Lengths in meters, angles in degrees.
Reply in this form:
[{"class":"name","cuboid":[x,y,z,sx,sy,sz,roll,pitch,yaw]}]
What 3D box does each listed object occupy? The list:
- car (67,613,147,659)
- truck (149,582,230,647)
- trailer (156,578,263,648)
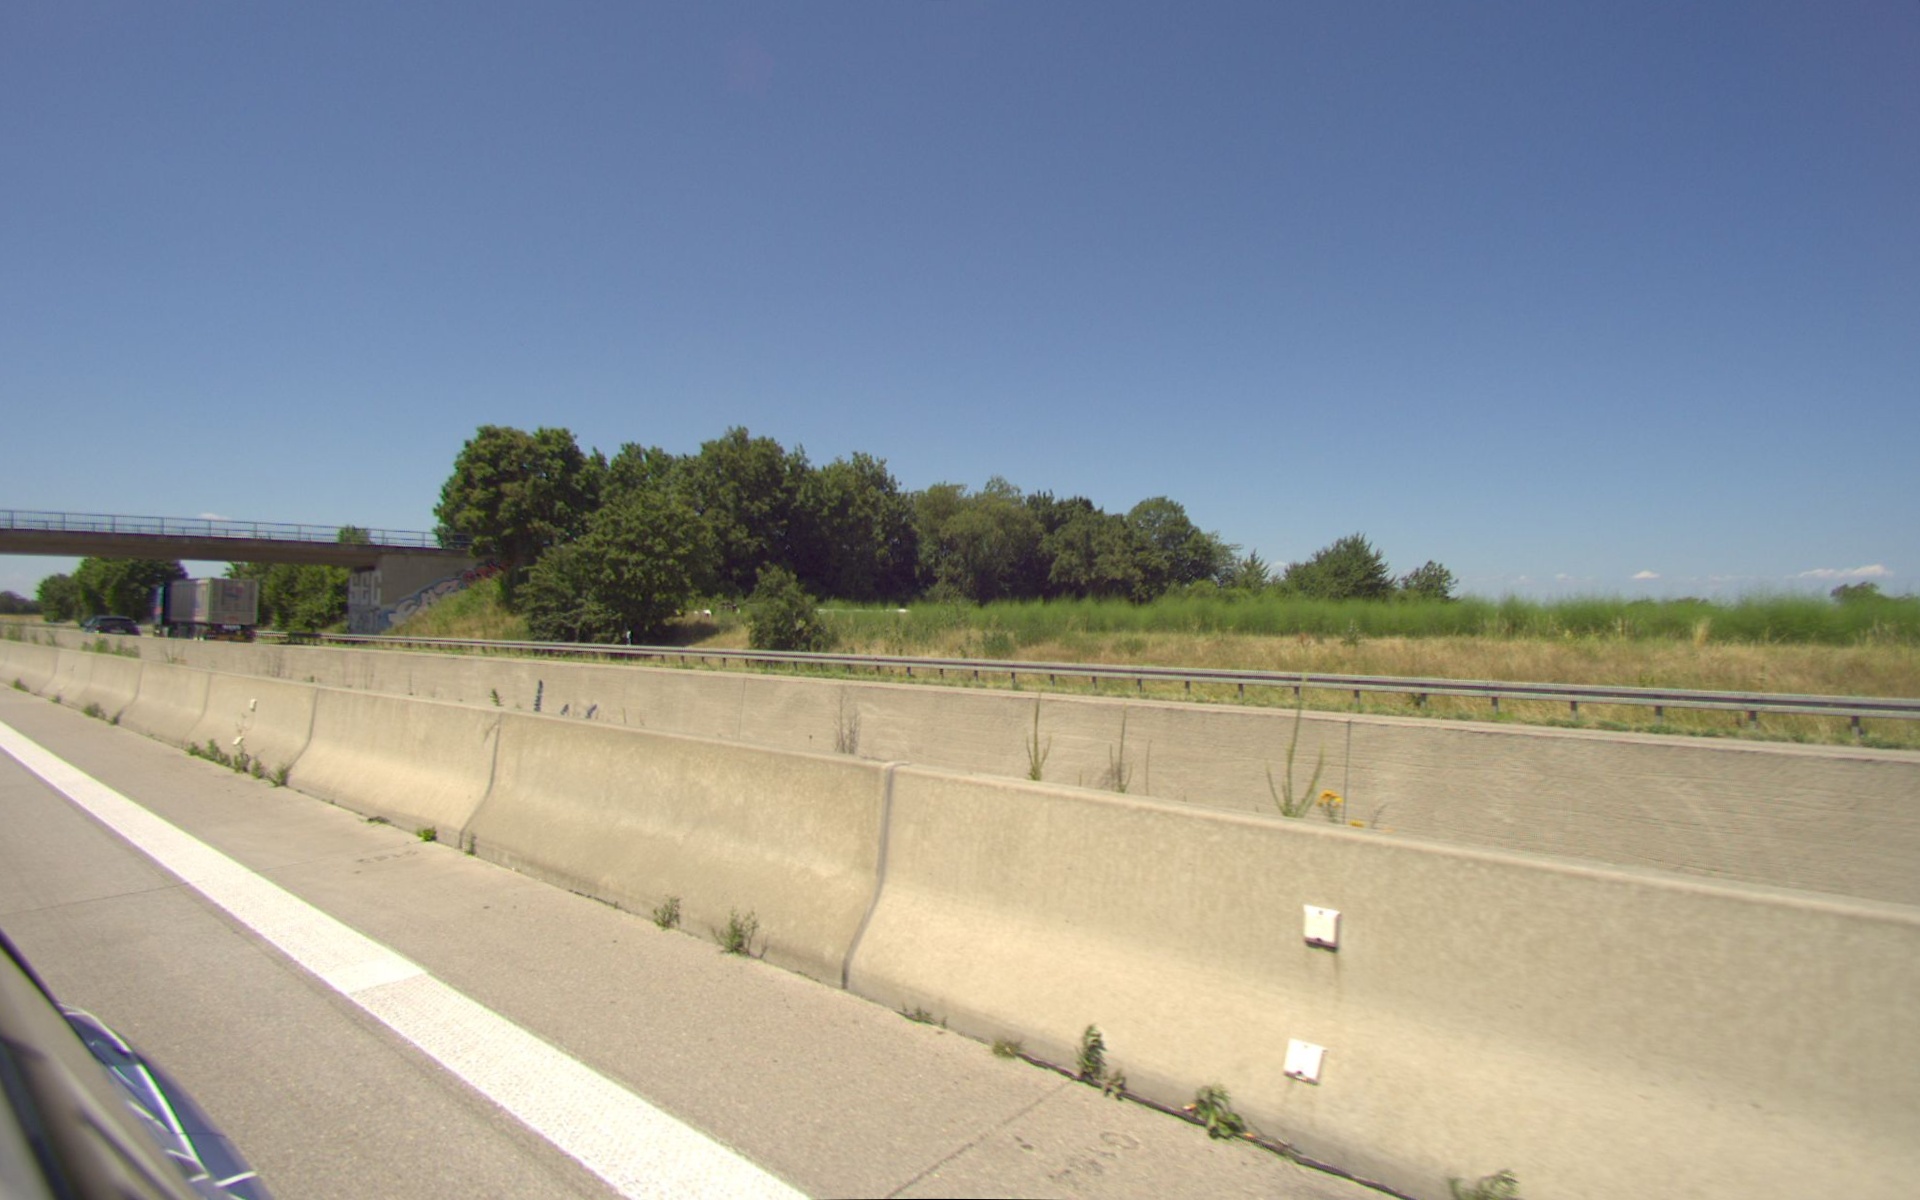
[{"class":"car","cuboid":[-38.364,1.566,45.460,5.464,1.876,1.973,-1,0,41]},{"class":"truck","cuboid":[-51.749,1.000,67.926,6.462,4.121,2.950,-1,-4,41]},{"class":"trailer","cuboid":[-48.145,0.875,64.746,11.599,4.121,2.950,-1,-4,41]}]
